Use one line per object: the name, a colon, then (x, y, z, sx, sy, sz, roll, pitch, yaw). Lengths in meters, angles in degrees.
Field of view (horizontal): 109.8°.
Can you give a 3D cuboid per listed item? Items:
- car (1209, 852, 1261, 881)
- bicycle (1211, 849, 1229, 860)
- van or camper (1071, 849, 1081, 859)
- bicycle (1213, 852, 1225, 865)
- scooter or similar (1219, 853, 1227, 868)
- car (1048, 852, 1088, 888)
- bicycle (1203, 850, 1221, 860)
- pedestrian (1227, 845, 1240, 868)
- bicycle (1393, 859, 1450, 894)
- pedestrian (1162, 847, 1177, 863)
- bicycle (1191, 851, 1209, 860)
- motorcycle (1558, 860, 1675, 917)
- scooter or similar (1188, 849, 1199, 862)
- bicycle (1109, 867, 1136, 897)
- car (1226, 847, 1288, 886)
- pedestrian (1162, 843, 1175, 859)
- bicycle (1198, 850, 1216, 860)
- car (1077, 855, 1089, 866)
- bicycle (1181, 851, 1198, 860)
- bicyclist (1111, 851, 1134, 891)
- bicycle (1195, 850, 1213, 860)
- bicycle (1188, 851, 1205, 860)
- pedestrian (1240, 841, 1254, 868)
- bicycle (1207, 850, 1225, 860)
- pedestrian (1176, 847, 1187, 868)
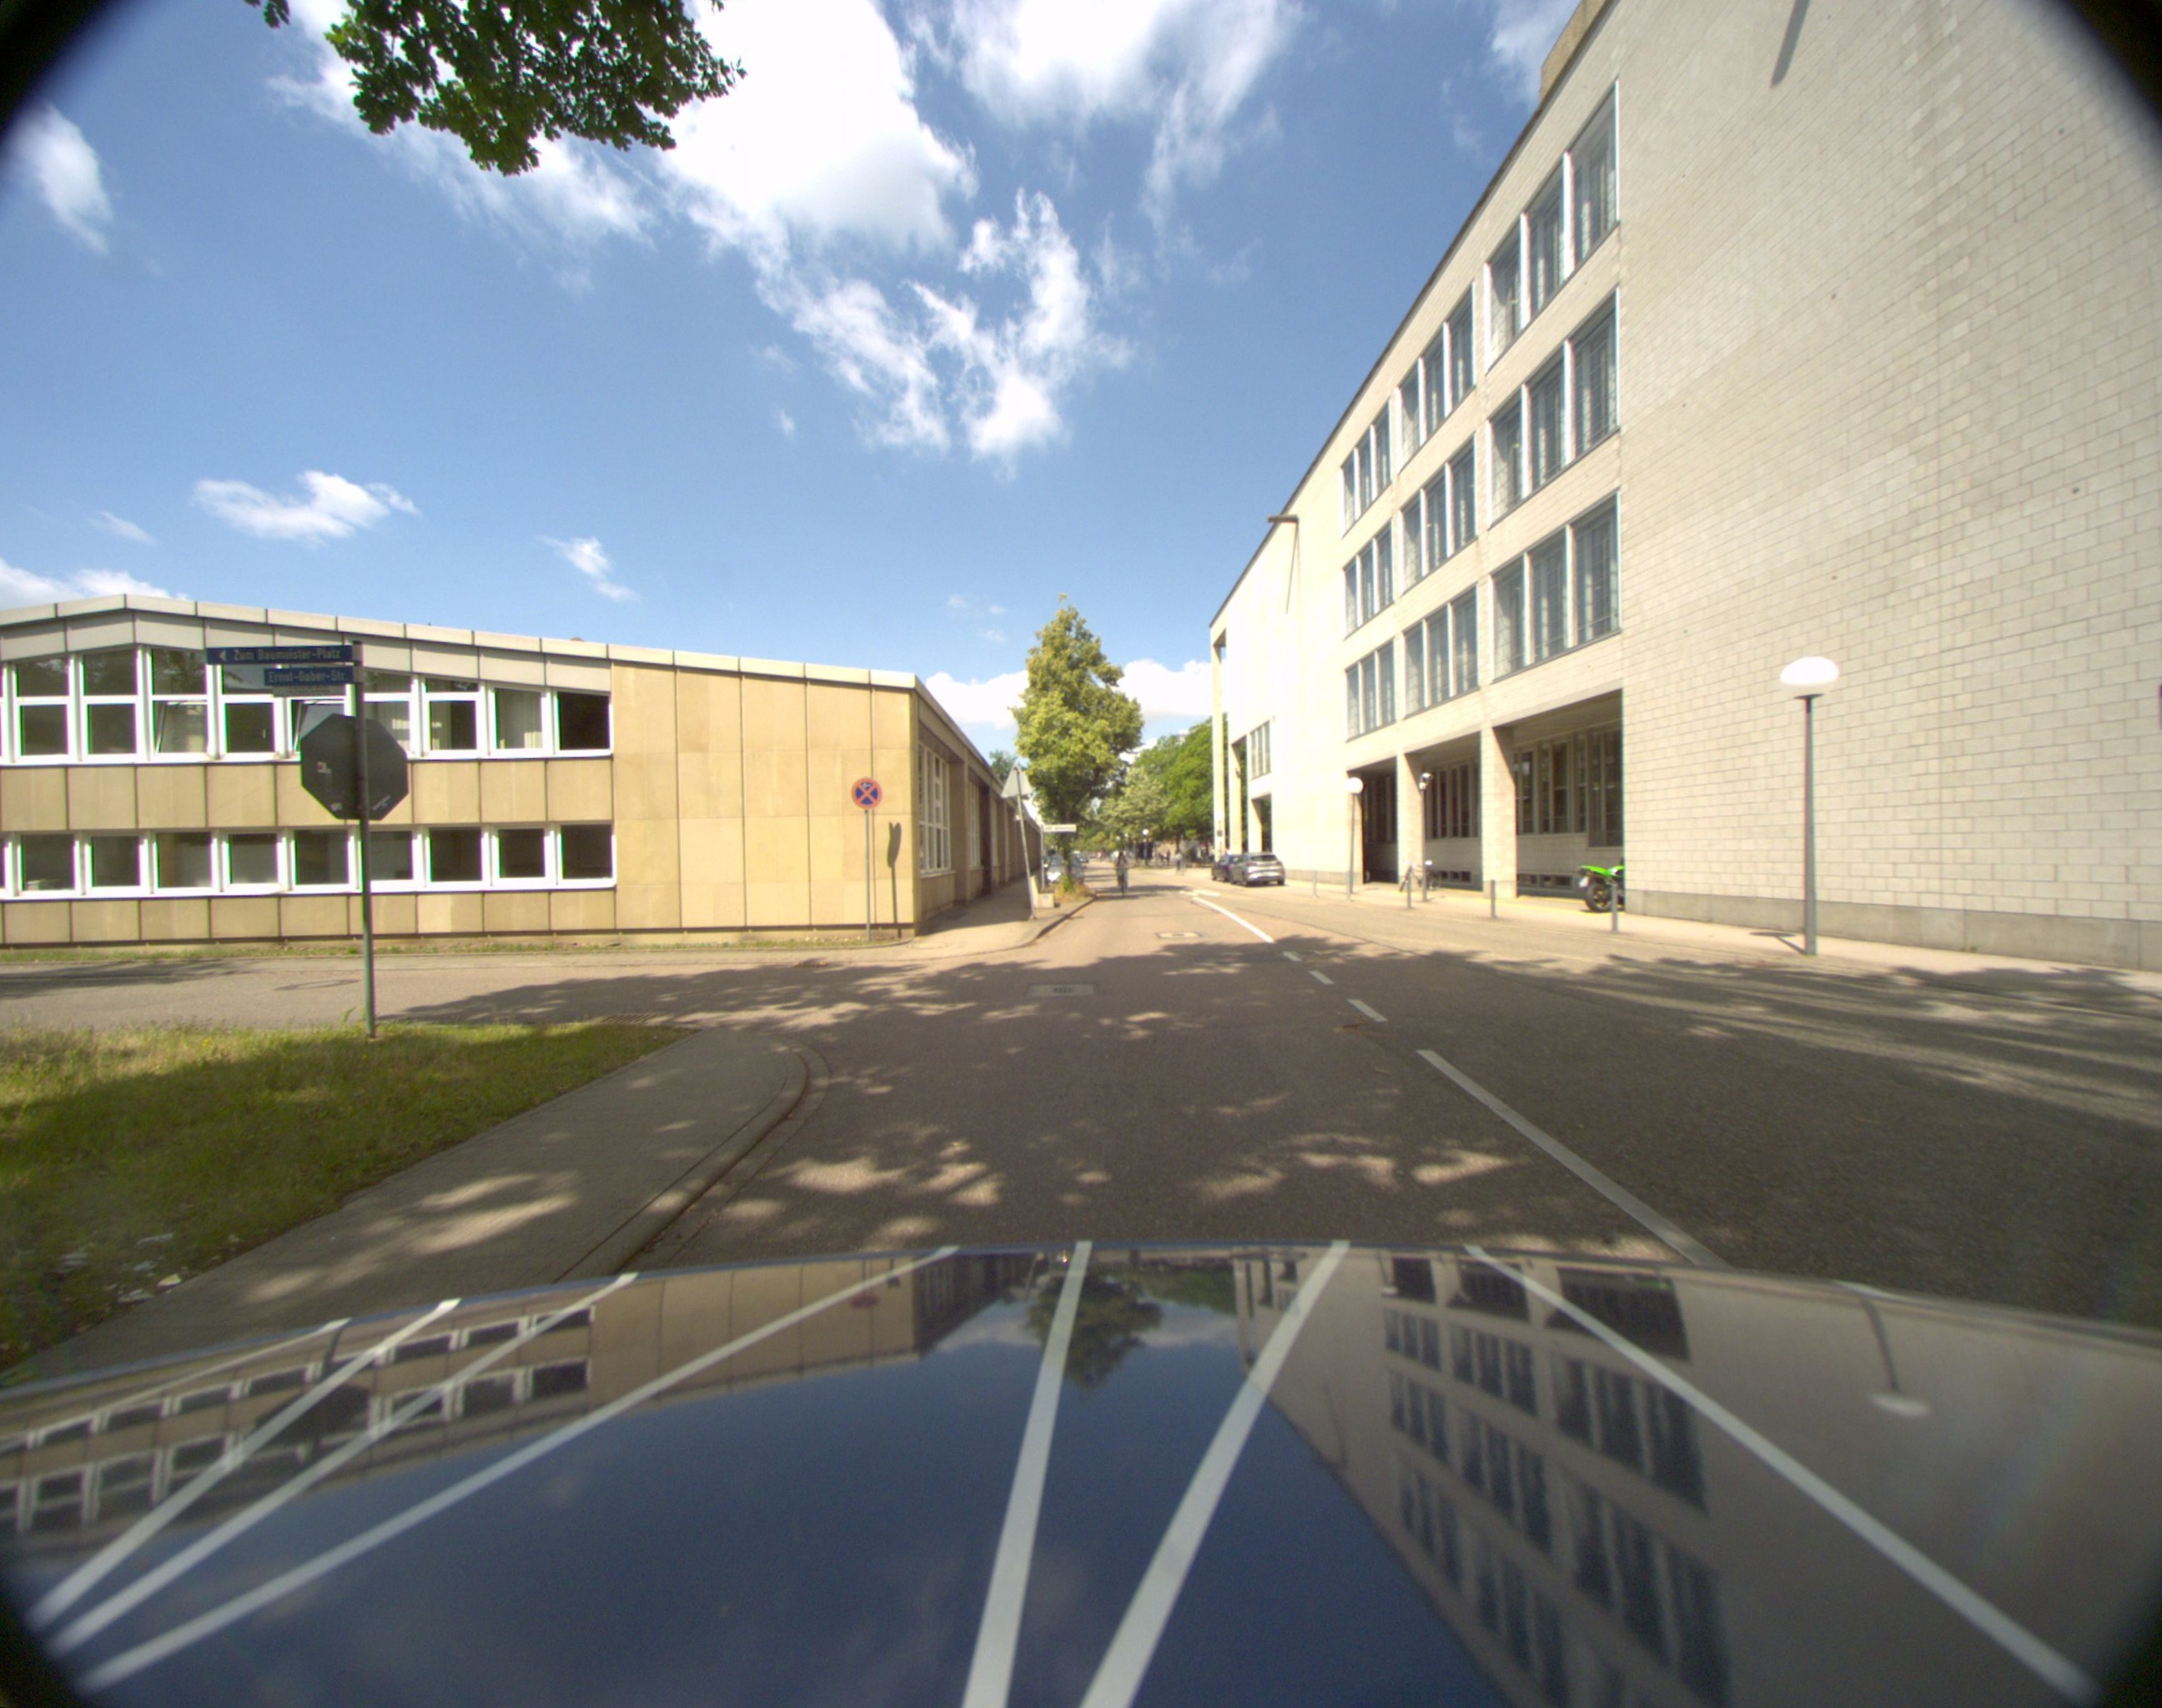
car: (8.033, 0.611, 40.026, 1.731, 1.414, 4.664, -2, 0, -1)
bicycle: (16.150, 0.086, 88.145, 2.127, 1.151, 0.751, -2, 1, -31)
van or camper: (-1.304, -0.101, 186.655, 1.998, 2.348, 4.384, -1, 0, 5)
bicycle: (12.218, 0.384, 67.291, 0.508, 1.100, 2.000, -2, 0, -5)
scooter or similar: (10.613, 0.469, 56.847, 0.317, 1.138, 1.313, -2, 1, -1)
car: (-0.617, 0.713, 35.570, 1.761, 1.559, 3.816, 0, 0, -2)
bicycle: (15.370, 0.115, 89.436, 2.127, 1.100, 0.681, -2, 1, -31)
pedestrian: (11.729, 0.190, 58.523, 0.755, 1.770, 1.081, -2, 1, -2)
bicycle: (11.452, 0.749, 25.573, 1.643, 1.080, 0.607, -2, 1, -6)
pedestrian: (9.969, 0.122, 85.450, 1.400, 1.814, 1.369, -2, 1, -2)
bicycle: (14.360, 0.142, 91.777, 2.127, 1.052, 0.681, -2, 1, -31)
motorcycle: (11.527, 0.724, 16.381, 2.173, 1.131, 0.774, -1, 1, -11)
scooter or similar: (10.824, 0.140, 72.914, 0.713, 1.184, 1.617, -1, 2, 21)
bicycle: (1.543, 1.038, 28.577, 0.781, 1.042, 1.912, -1, 0, -3)
car: (7.972, 0.527, 34.831, 1.730, 1.526, 4.404, -3, 1, -1)
pedestrian: (11.285, -0.335, 97.584, 1.400, 2.002, 1.369, -2, 1, -2)
bicycle: (15.014, 0.105, 90.390, 2.127, 1.052, 0.681, -2, 1, -31)
car: (0.371, 1.137, 132.213, 1.999, 1.805, 3.999, -1, 0, 0)
bicycle: (13.340, 0.168, 93.611, 2.127, 1.052, 0.621, -2, 1, -31)
bicyclist: (1.540, 0.636, 28.510, 0.781, 1.478, 0.695, -1, 1, -3)
bicycle: (14.719, 0.139, 91.139, 2.127, 1.052, 0.681, -2, 1, -31)
bicycle: (14.016, 0.145, 92.412, 2.127, 1.052, 0.621, -2, 1, -31)
pedestrian: (12.817, 0.033, 58.728, 0.755, 2.002, 1.081, -2, 1, -2)
bicycle: (15.766, 0.111, 88.799, 2.127, 1.100, 0.681, -2, 1, -31)
pedestrian: (8.454, 0.275, 64.104, 0.760, 1.715, 1.235, -4, 1, 10)
